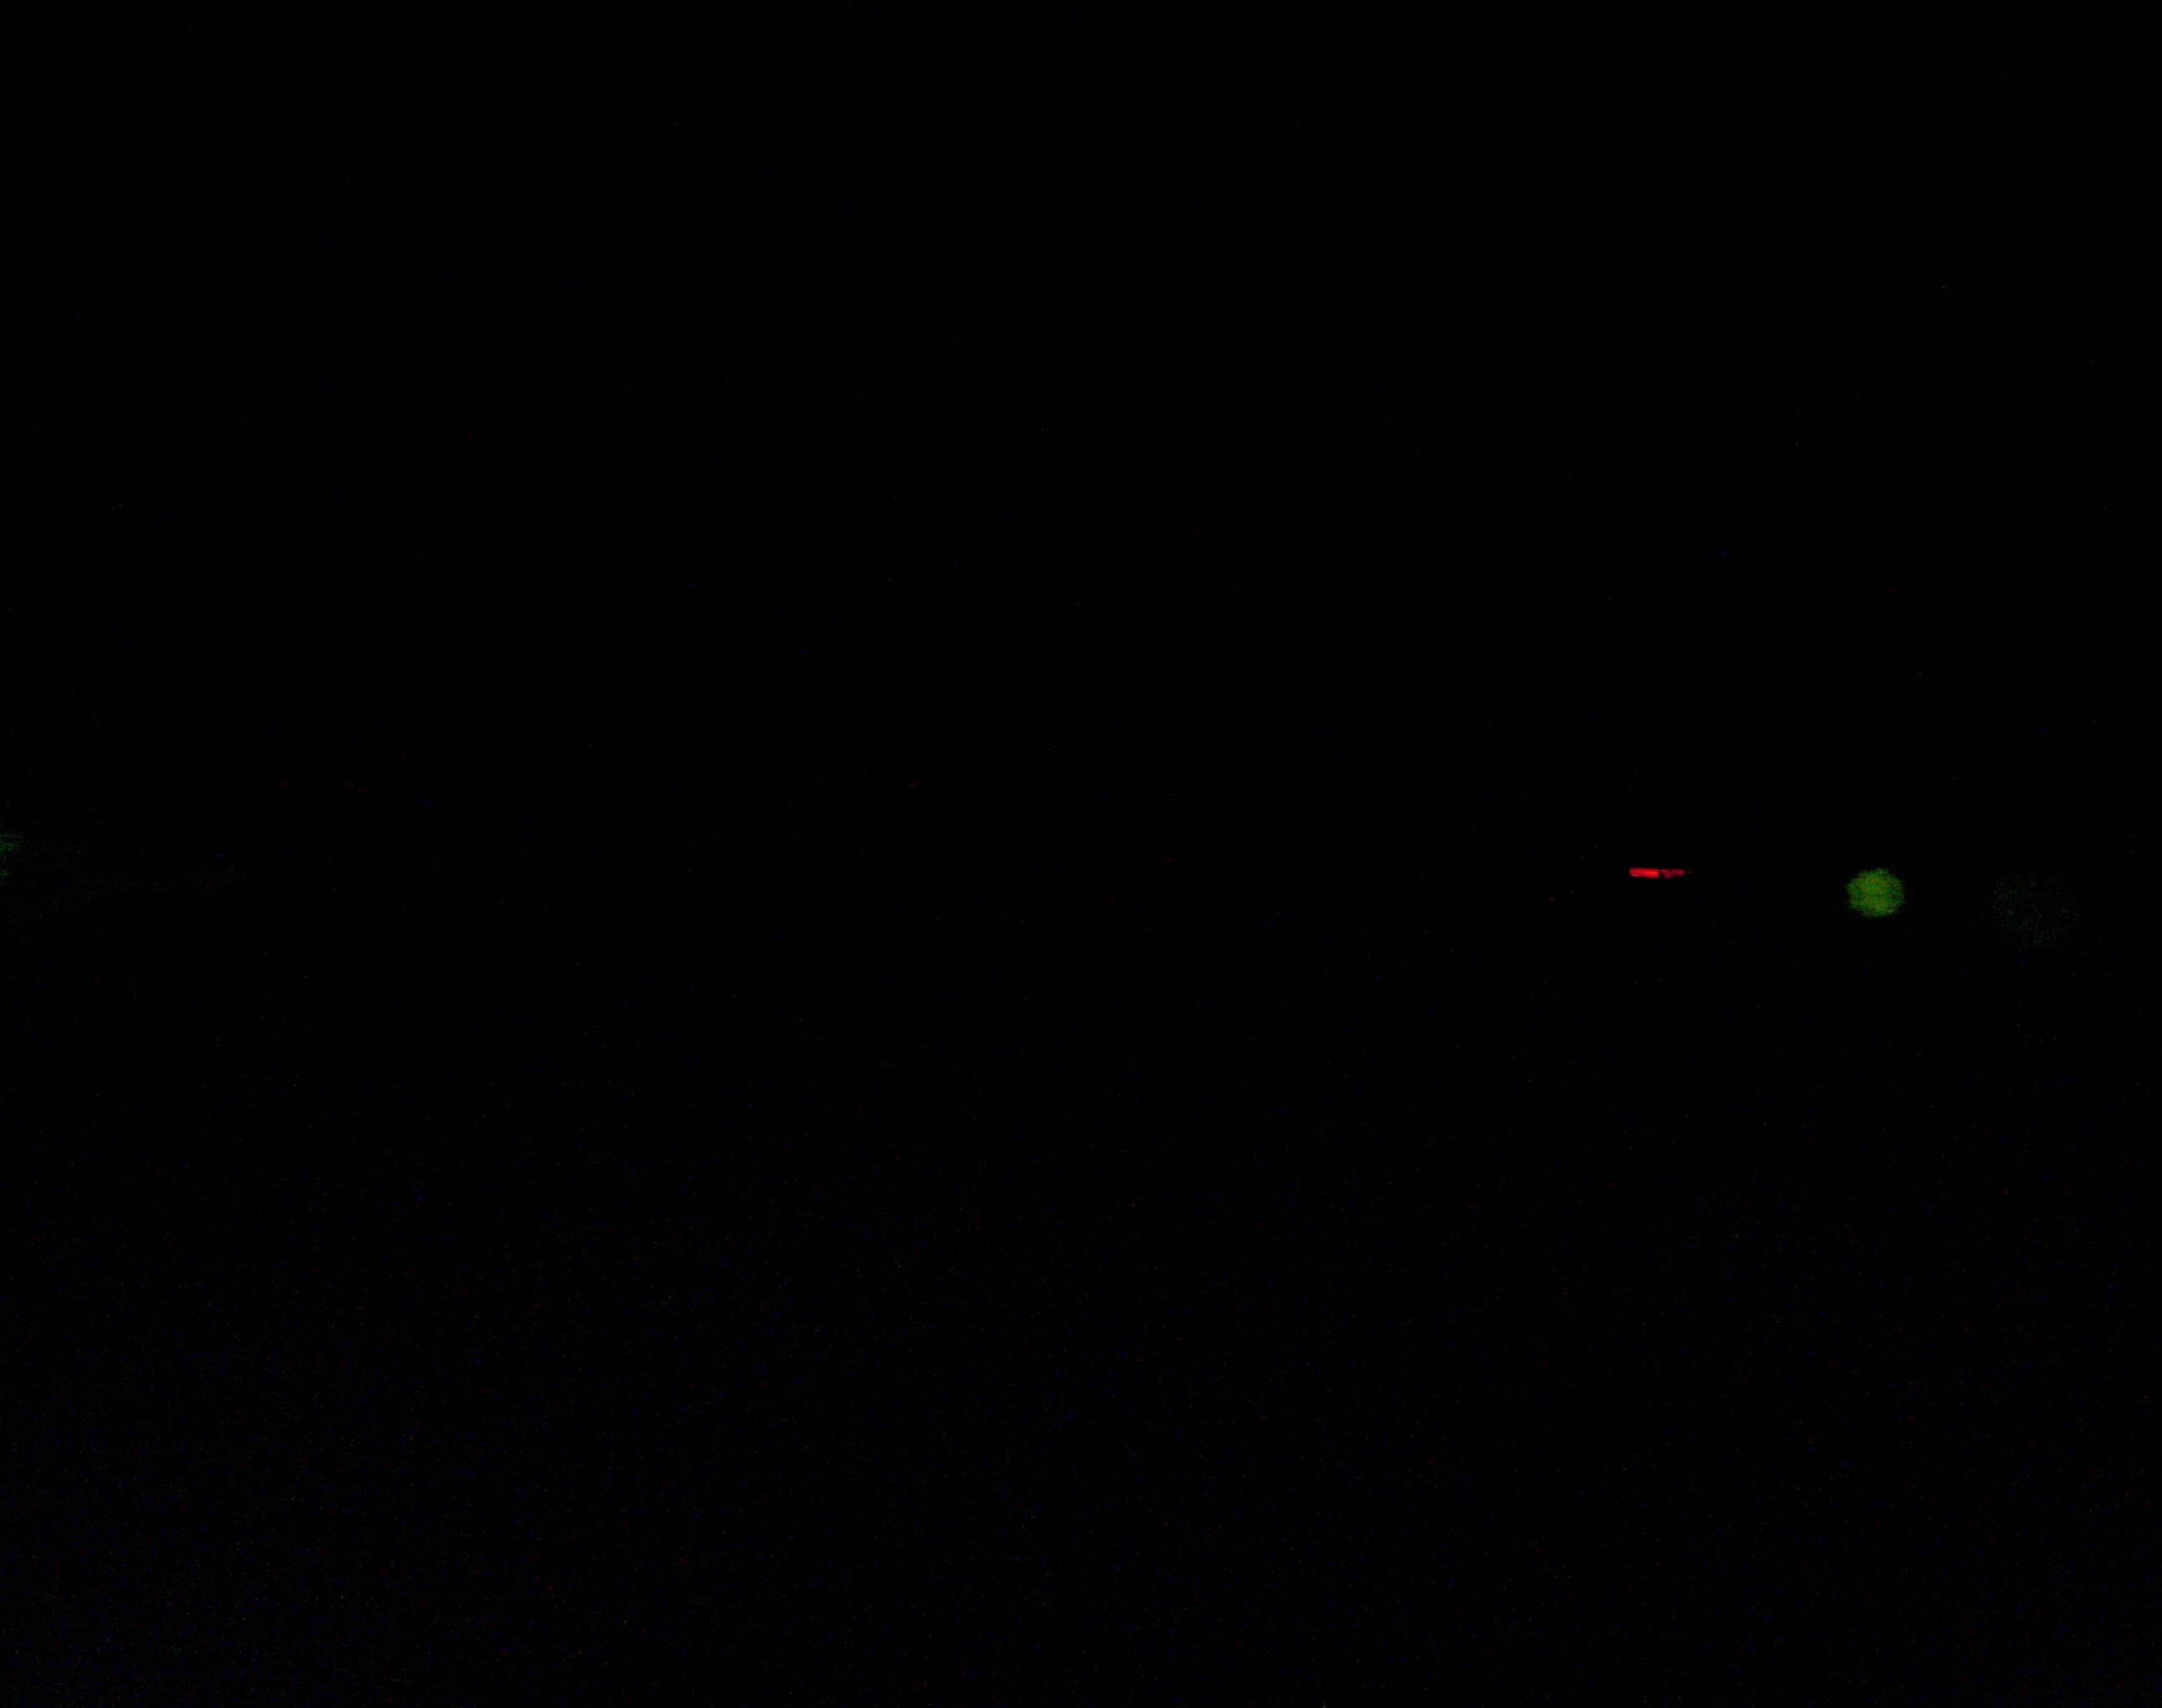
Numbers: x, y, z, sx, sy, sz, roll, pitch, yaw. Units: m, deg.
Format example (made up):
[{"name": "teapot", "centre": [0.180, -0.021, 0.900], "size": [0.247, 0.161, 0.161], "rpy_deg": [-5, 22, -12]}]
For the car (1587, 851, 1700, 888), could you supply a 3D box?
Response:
[{"name": "car", "centre": [24.018, 0.608, 32.665], "size": [1.825, 1.433, 4.477], "rpy_deg": [1, 0, 5]}]

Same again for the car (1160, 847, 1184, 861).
[{"name": "car", "centre": [11.474, -0.024, 96.178], "size": [1.999, 1.648, 4.531], "rpy_deg": [-1, 1, -6]}]

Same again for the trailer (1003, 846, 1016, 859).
[{"name": "trailer", "centre": [-22.737, -0.350, 242.066], "size": [2.728, 3.933, 9.035], "rpy_deg": [-1, 0, -15]}]
